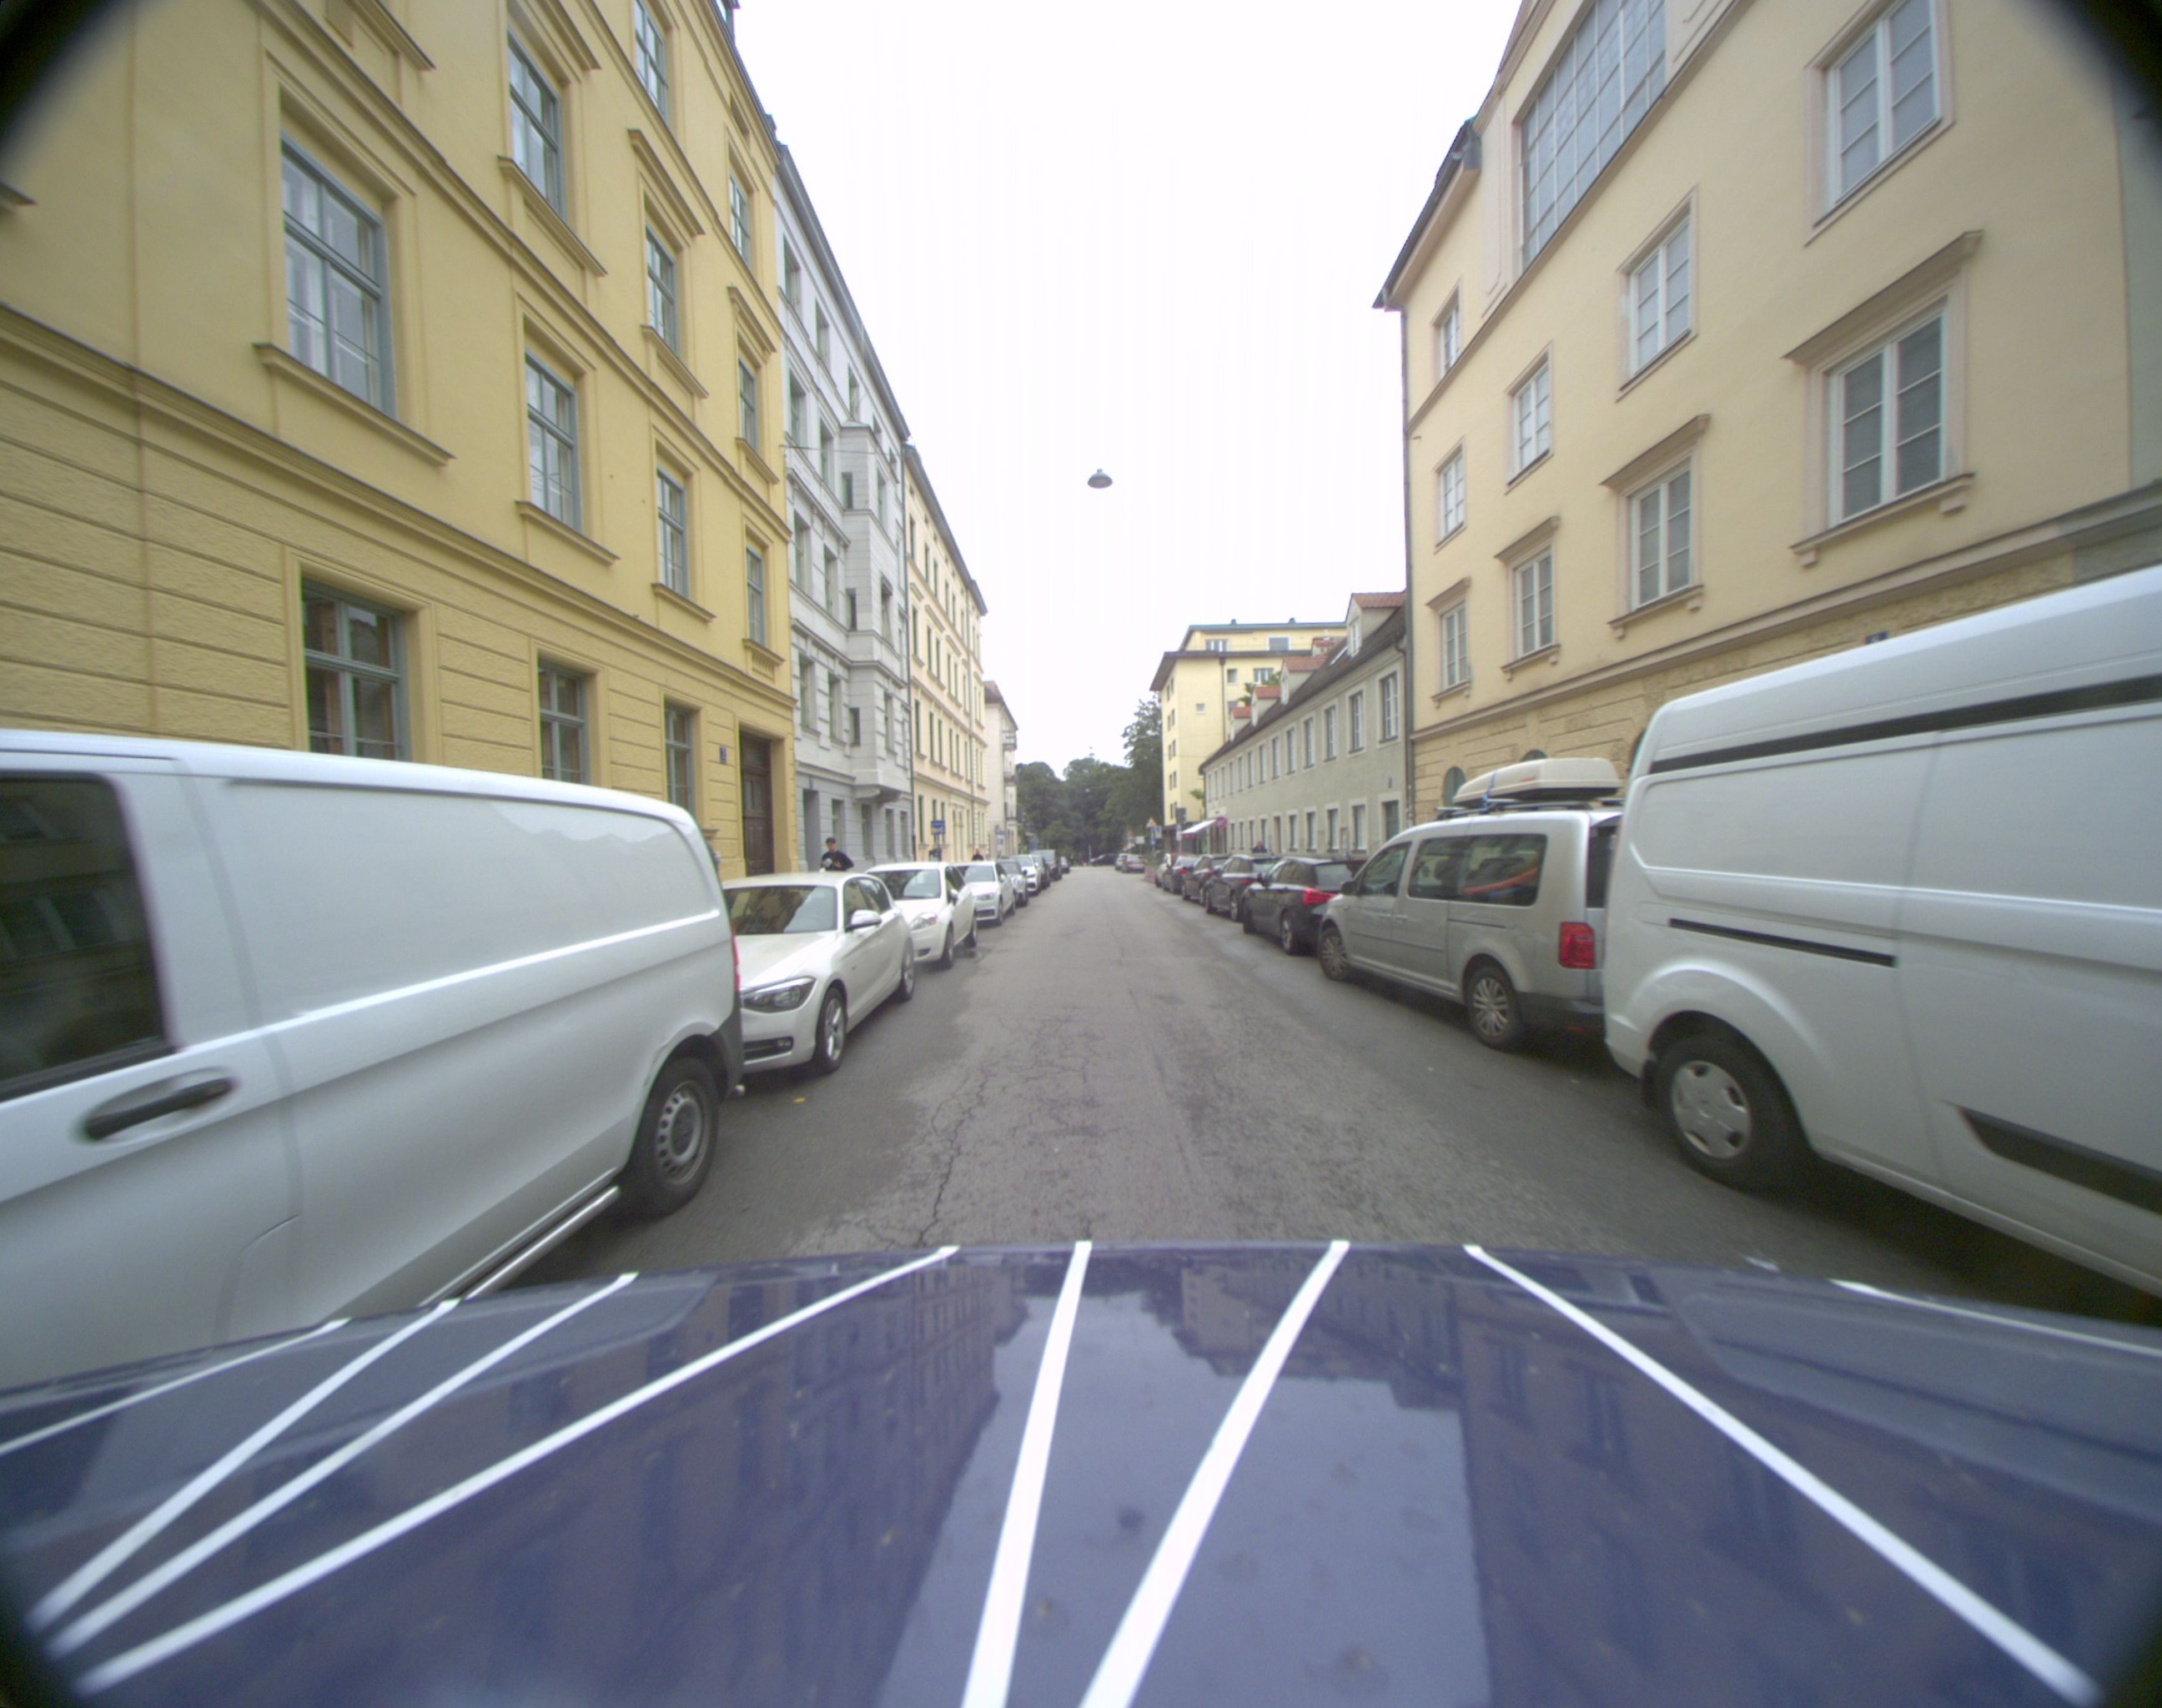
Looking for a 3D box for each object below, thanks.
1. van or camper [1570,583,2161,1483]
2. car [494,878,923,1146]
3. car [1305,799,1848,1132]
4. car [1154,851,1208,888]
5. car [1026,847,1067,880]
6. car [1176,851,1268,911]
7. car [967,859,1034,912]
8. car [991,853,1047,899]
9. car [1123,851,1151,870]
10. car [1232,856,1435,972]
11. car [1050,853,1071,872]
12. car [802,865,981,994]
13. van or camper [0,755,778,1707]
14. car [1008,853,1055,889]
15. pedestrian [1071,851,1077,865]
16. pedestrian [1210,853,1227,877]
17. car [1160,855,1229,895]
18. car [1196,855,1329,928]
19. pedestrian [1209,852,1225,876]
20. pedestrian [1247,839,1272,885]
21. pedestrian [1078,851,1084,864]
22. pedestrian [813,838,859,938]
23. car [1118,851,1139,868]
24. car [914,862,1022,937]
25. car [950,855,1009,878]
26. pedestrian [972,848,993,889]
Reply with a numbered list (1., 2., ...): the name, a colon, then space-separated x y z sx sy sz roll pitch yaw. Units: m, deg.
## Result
1. van or camper: 3.589 0.440 1.540 1.759 2.268 5.272 -2 1 0
2. car: -2.664 1.012 6.661 1.712 1.384 4.205 -2 1 -1
3. car: 3.753 0.657 6.979 1.759 1.983 4.623 -2 1 -3
4. car: 4.358 0.651 33.604 1.759 1.466 3.713 -2 1 -2
5. car: -2.050 0.543 46.503 2.002 1.853 5.253 -2 0 2
6. car: 4.009 0.709 22.239 1.759 1.487 4.199 -2 1 -2
7. car: -2.428 0.927 23.882 1.712 1.396 4.206 -2 1 -1
8. car: -2.363 0.812 30.008 1.747 1.574 4.466 -2 1 1
9. car: 4.300 0.475 58.923 1.683 1.463 4.949 0 0 -2
10. car: 3.692 0.789 11.915 1.759 1.401 4.102 -2 1 -1
11. car: -1.718 0.726 64.513 1.680 1.416 4.203 -4 0 -1
12. car: -2.608 0.965 11.454 1.712 1.446 4.095 -2 1 -1
13. van or camper: -2.659 0.792 1.637 1.838 1.861 5.078 -2 1 1
14. car: -2.223 0.737 35.206 1.759 1.512 4.274 -2 1 1
15. pedestrian: -0.849 0.518 97.939 0.686 1.662 0.774 -3 -2 1
16. pedestrian: 7.636 0.591 42.075 0.805 1.283 0.693 -1 2 1
17. car: 4.095 0.718 28.171 1.803 1.331 4.685 -2 0 0
18. car: 3.899 0.740 17.070 1.821 1.433 4.130 0 0 -3
19. pedestrian: 7.660 0.570 42.799 0.805 1.283 0.693 -1 2 1
20. pedestrian: 7.483 0.338 31.890 0.824 1.887 0.827 -1 2 0
21. pedestrian: 0.005 0.461 97.794 0.639 1.662 0.774 -3 -2 1
22. pedestrian: -5.000 0.679 15.535 0.671 1.969 0.708 2 2 1
23. car: 4.535 0.578 72.459 1.807 1.574 4.339 0 -1 1
24. car: -2.525 0.957 18.094 1.712 1.400 4.814 -2 1 1
25. car: -7.528 0.911 56.501 4.099 1.595 1.755 -1 -1 -1
26. pedestrian: -4.176 0.596 32.314 0.720 1.707 1.003 -1 2 0
